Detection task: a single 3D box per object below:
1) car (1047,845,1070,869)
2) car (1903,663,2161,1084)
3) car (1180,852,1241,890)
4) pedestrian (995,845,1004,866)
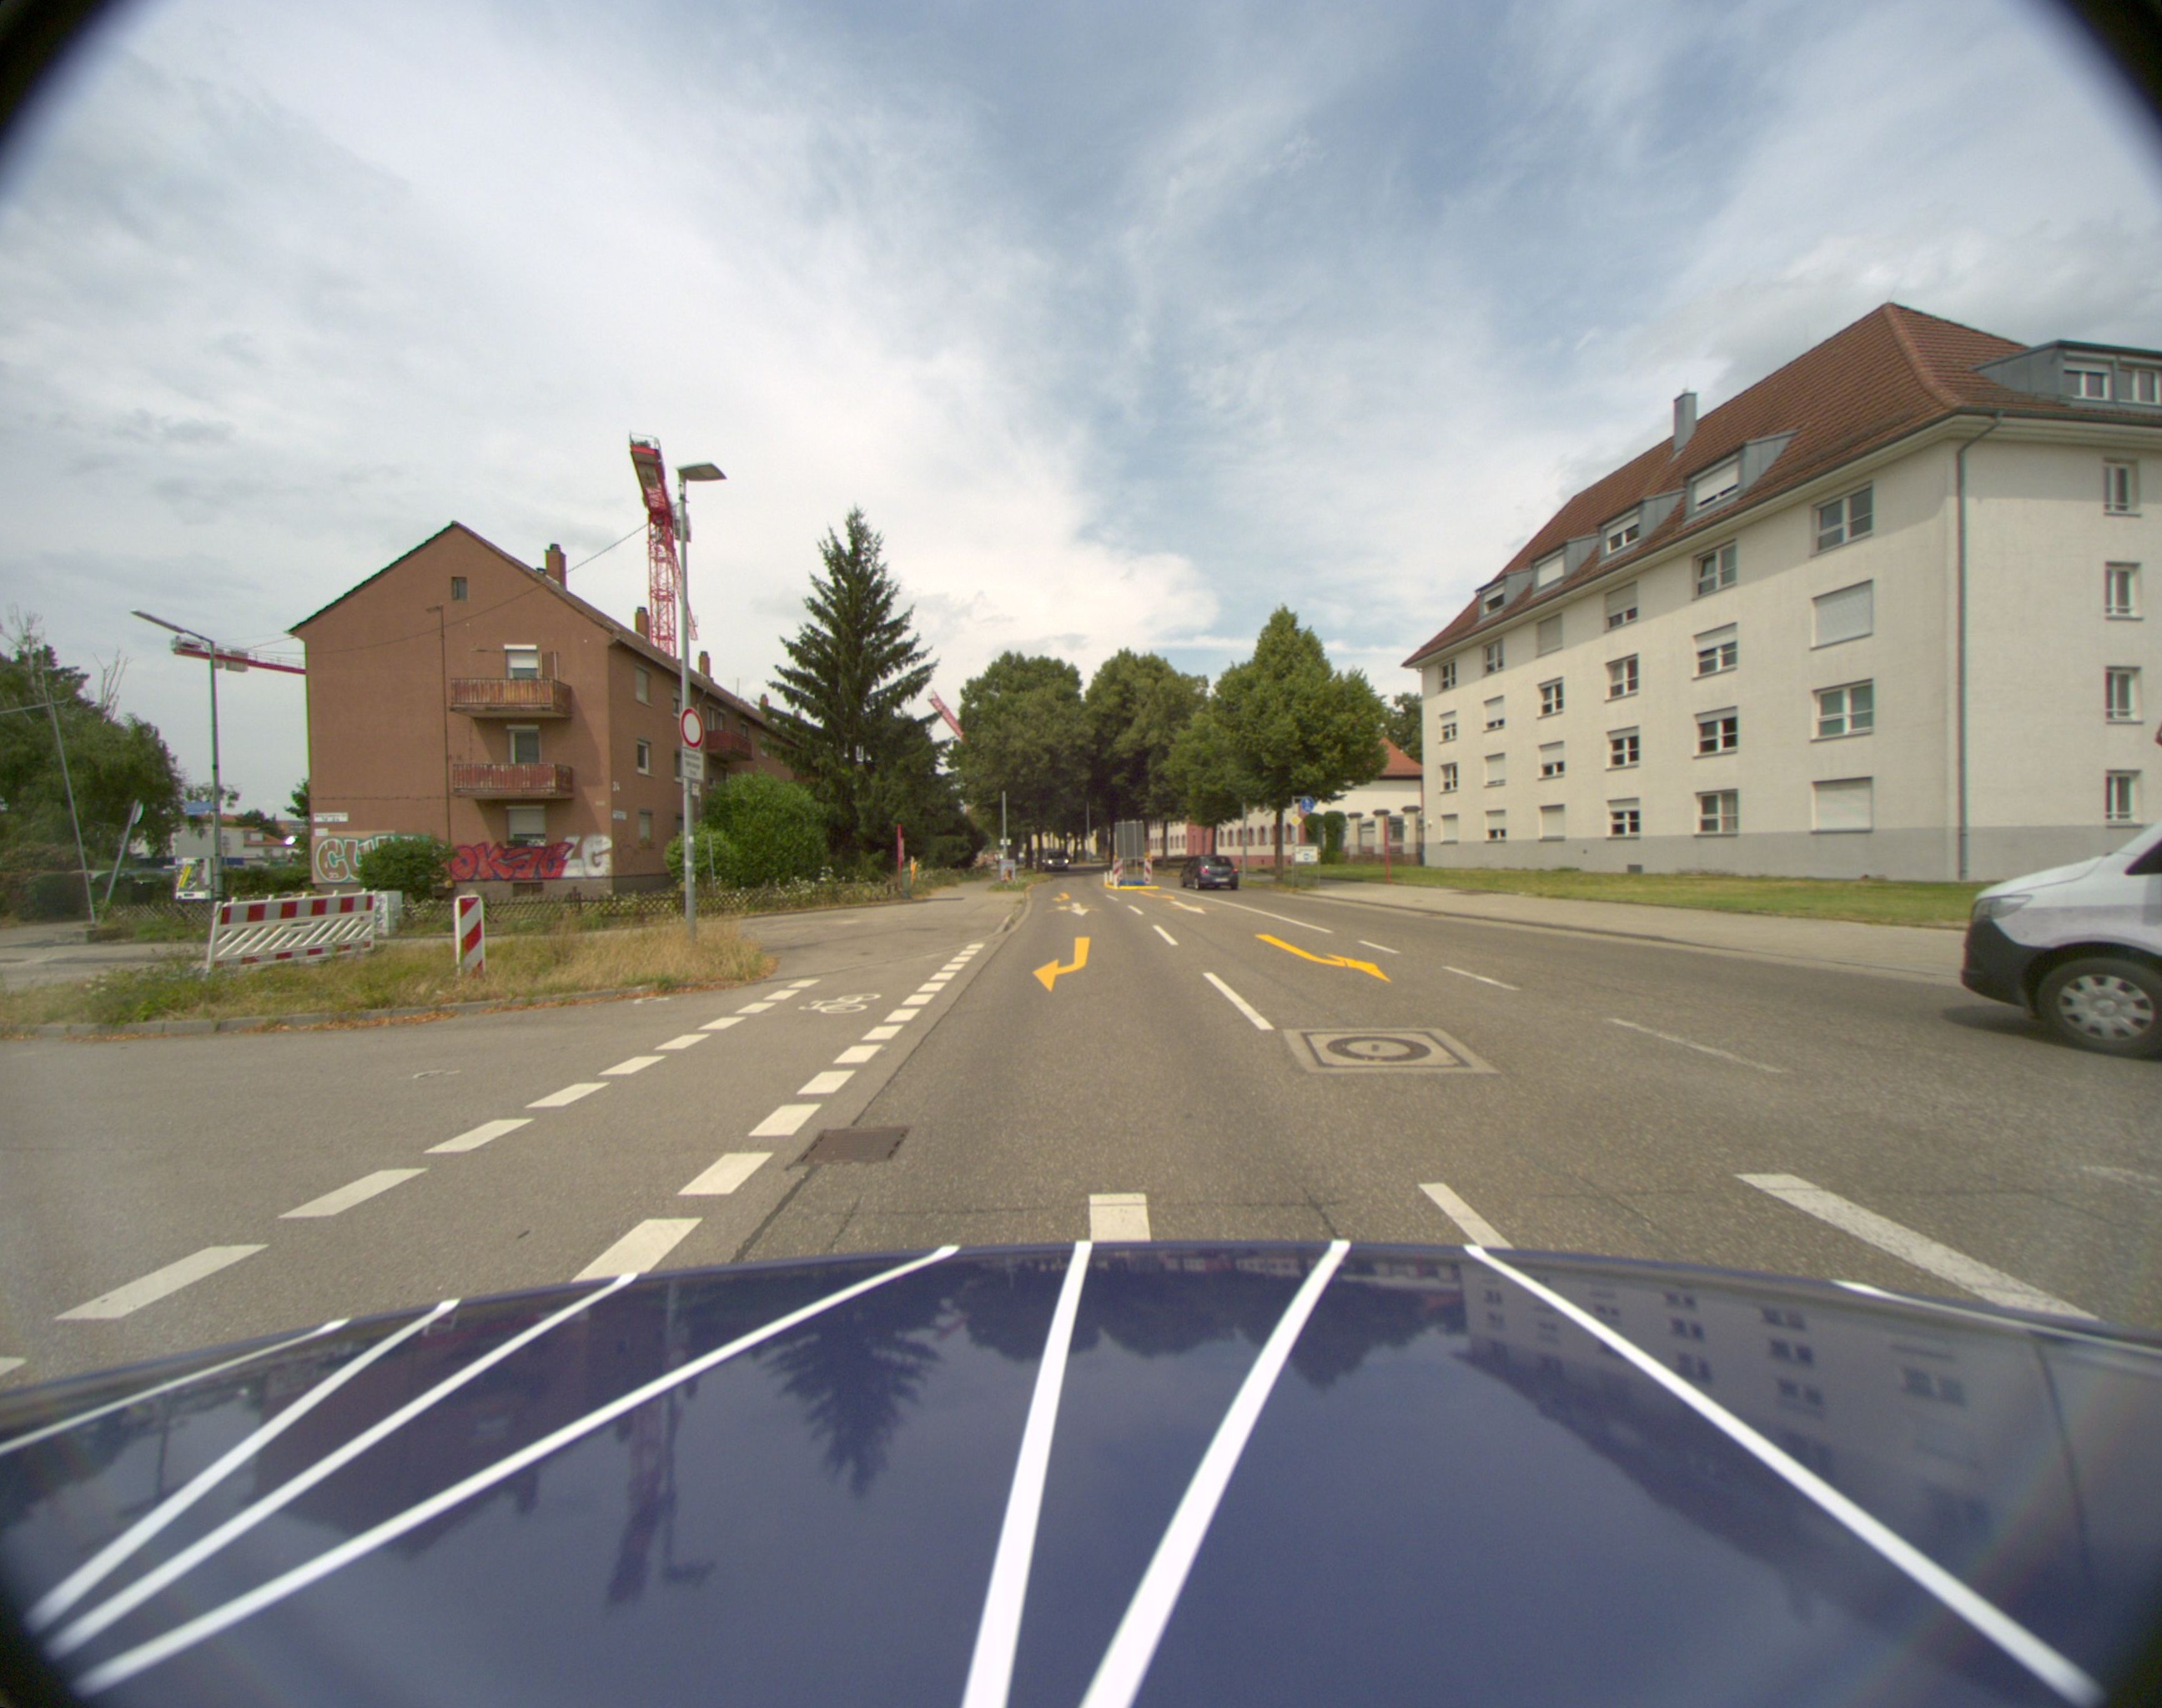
[{"bbox_3d":[-1.884,0.242,65.055,1.810,1.936,4.583,-1,1,-1],"label":"car"},{"bbox_3d":[8.194,0.109,3.375,2.072,2.670,5.964,-2,1,-11],"label":"car"},{"bbox_3d":[5.328,0.663,31.666,1.676,1.402,3.919,-1,1,-3],"label":"car"},{"bbox_3d":[-8.162,0.147,76.119,0.856,2.002,0.731,-1,1,-11],"label":"pedestrian"}]
